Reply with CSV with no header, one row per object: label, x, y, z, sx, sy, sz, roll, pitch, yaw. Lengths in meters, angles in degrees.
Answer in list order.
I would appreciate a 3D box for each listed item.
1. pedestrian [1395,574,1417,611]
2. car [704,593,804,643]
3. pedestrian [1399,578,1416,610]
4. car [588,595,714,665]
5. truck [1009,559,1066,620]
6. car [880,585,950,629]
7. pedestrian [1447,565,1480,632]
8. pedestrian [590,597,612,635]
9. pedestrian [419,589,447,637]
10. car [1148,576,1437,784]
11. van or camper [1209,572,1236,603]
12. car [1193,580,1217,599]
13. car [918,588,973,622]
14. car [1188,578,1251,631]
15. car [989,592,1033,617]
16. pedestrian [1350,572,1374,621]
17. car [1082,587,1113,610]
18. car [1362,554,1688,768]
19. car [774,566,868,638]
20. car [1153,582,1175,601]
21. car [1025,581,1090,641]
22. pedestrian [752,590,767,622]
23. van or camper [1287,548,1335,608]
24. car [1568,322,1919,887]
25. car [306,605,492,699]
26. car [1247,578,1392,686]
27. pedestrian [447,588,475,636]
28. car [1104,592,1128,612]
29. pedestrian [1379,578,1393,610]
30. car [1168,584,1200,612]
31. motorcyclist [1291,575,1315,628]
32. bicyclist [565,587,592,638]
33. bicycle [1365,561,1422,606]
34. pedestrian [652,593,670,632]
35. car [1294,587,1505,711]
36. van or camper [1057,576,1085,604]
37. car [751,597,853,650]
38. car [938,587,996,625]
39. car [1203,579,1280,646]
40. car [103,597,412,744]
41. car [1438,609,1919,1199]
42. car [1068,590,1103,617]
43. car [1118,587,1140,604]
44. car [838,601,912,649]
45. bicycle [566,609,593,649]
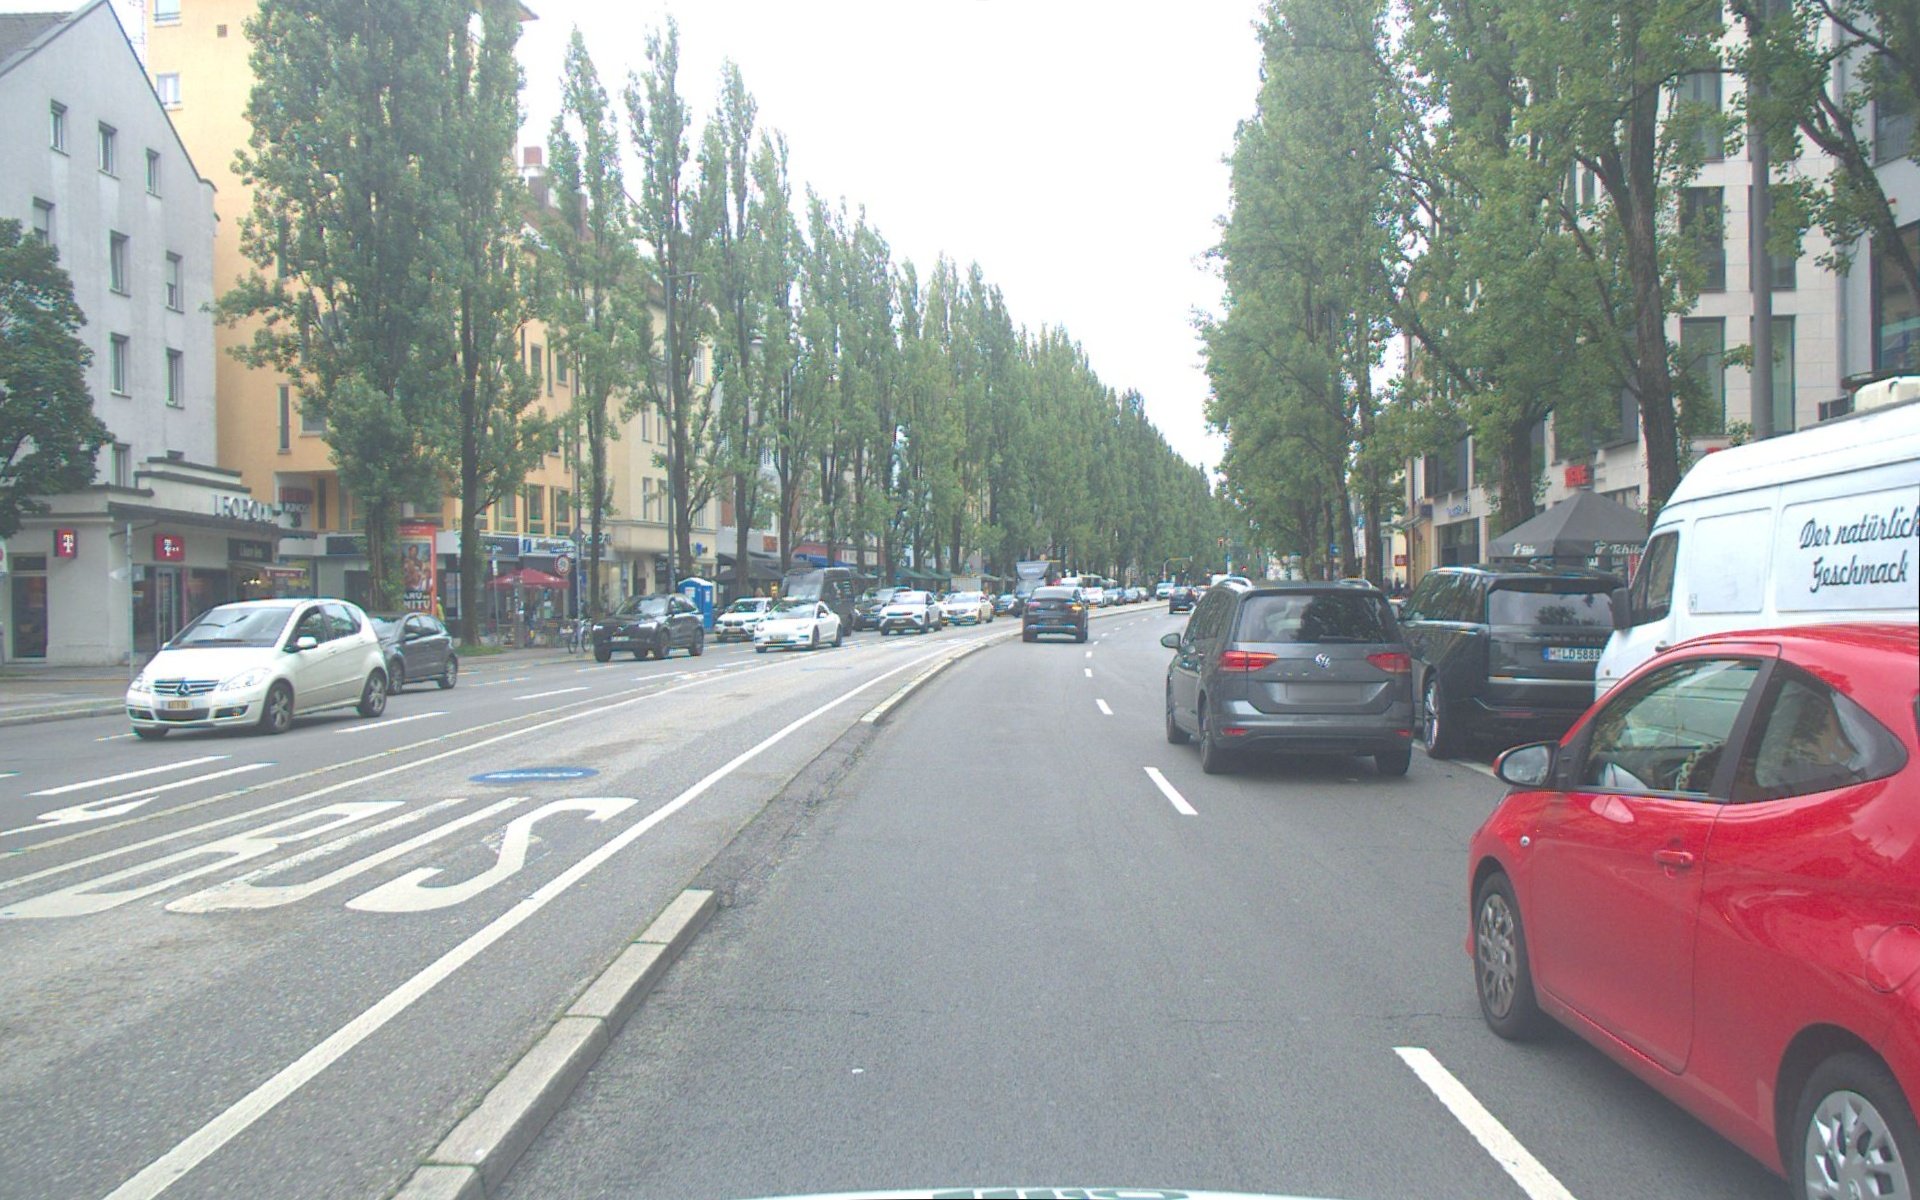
pedestrian,19.417,-0.343,71.998,0.595,1.578,0.712,-2,0,-16
car,-7.980,0.660,64.661,2.123,1.794,6.069,-1,0,10
pedestrian,22.900,-0.307,84.666,0.803,1.641,0.780,-1,0,14
car,-8.420,0.782,45.557,1.975,1.746,4.986,-1,0,7
truck,4.649,-0.646,98.437,2.242,3.380,7.164,-2,0,11
car,-1.743,0.251,64.917,1.869,1.631,4.359,-2,0,10
pedestrian,12.684,-0.048,41.683,0.597,1.647,0.794,-2,0,5
pedestrian,-15.274,0.663,70.383,0.620,1.588,0.816,-1,0,13
pedestrian,-18.379,0.450,57.652,0.824,1.654,0.761,0,0,-11
car,2.882,0.619,15.227,1.725,1.642,4.182,0,0,-1
van or camper,21.748,-1.015,137.078,1.991,2.519,4.003,-1,-1,11
car,23.682,-0.998,159.604,1.951,1.747,4.004,-2,0,13
car,-0.737,0.242,88.227,1.951,1.680,4.640,-2,0,11
car,7.981,0.107,51.143,1.772,1.526,4.810,-2,0,7
car,3.205,0.257,103.514,1.898,1.459,4.542,-2,0,13
pedestrian,16.123,-0.139,66.312,0.800,1.902,0.939,-2,0,8
car,10.498,-0.146,126.207,1.898,1.671,4.468,-2,0,11
car,5.463,0.511,16.698,1.889,1.836,4.782,0,0,3
car,-5.339,0.049,64.433,2.123,2.651,6.069,-1,0,10
car,23.193,-0.961,188.082,1.953,2.049,3.999,0,0,-1
car,2.967,0.290,49.866,1.841,1.670,4.585,-1,0,4
pedestrian,-10.976,0.321,90.676,0.624,1.729,0.648,-1,0,11
van or camper,19.427,-1.202,91.518,2.408,3.166,4.720,-2,0,12
car,5.725,0.032,10.190,1.952,2.789,5.555,0,0,0
car,-10.078,0.890,30.042,1.746,1.491,4.002,-2,0,4
car,6.080,0.493,28.401,1.691,1.716,4.410,0,0,2
pedestrian,-17.439,0.424,57.808,0.824,1.654,0.761,0,0,-11
car,12.900,0.202,136.617,1.631,1.624,4.003,0,0,11
pedestrian,21.889,-0.296,84.971,0.658,1.641,0.641,-1,0,14
car,13.643,-0.092,100.641,1.721,1.648,3.750,0,0,11
motorcyclist,9.410,0.046,45.432,0.552,1.431,0.766,-2,0,8
bicyclist,-12.115,0.390,52.553,0.491,1.620,0.835,-1,0,11
bicycle,12.169,-0.465,46.440,1.447,1.228,0.536,-2,0,3
pedestrian,-13.662,0.572,75.538,0.527,1.777,0.756,0,0,11
car,5.787,0.579,22.333,1.734,1.458,4.572,1,1,1
van or camper,10.187,-0.961,151.414,1.951,2.501,4.255,-1,0,11
car,-4.711,0.676,49.981,1.761,1.418,4.695,-2,0,11
car,0.370,0.241,78.403,1.951,1.616,5.200,-3,0,9
car,7.621,0.321,45.085,1.884,1.730,4.653,0,0,7
car,-8.741,0.808,21.004,1.912,1.617,4.003,-1,0,5
car,2.701,0.778,4.700,1.631,1.471,3.596,1,0,0
car,8.666,0.216,113.530,1.820,1.741,4.540,-2,0,11
car,15.440,-0.443,150.830,1.675,1.438,3.726,-1,0,11
car,-3.779,1.099,74.611,1.951,1.896,5.717,-3,0,11
bicycle,-12.090,0.923,52.558,0.360,1.222,1.155,-1,0,12
